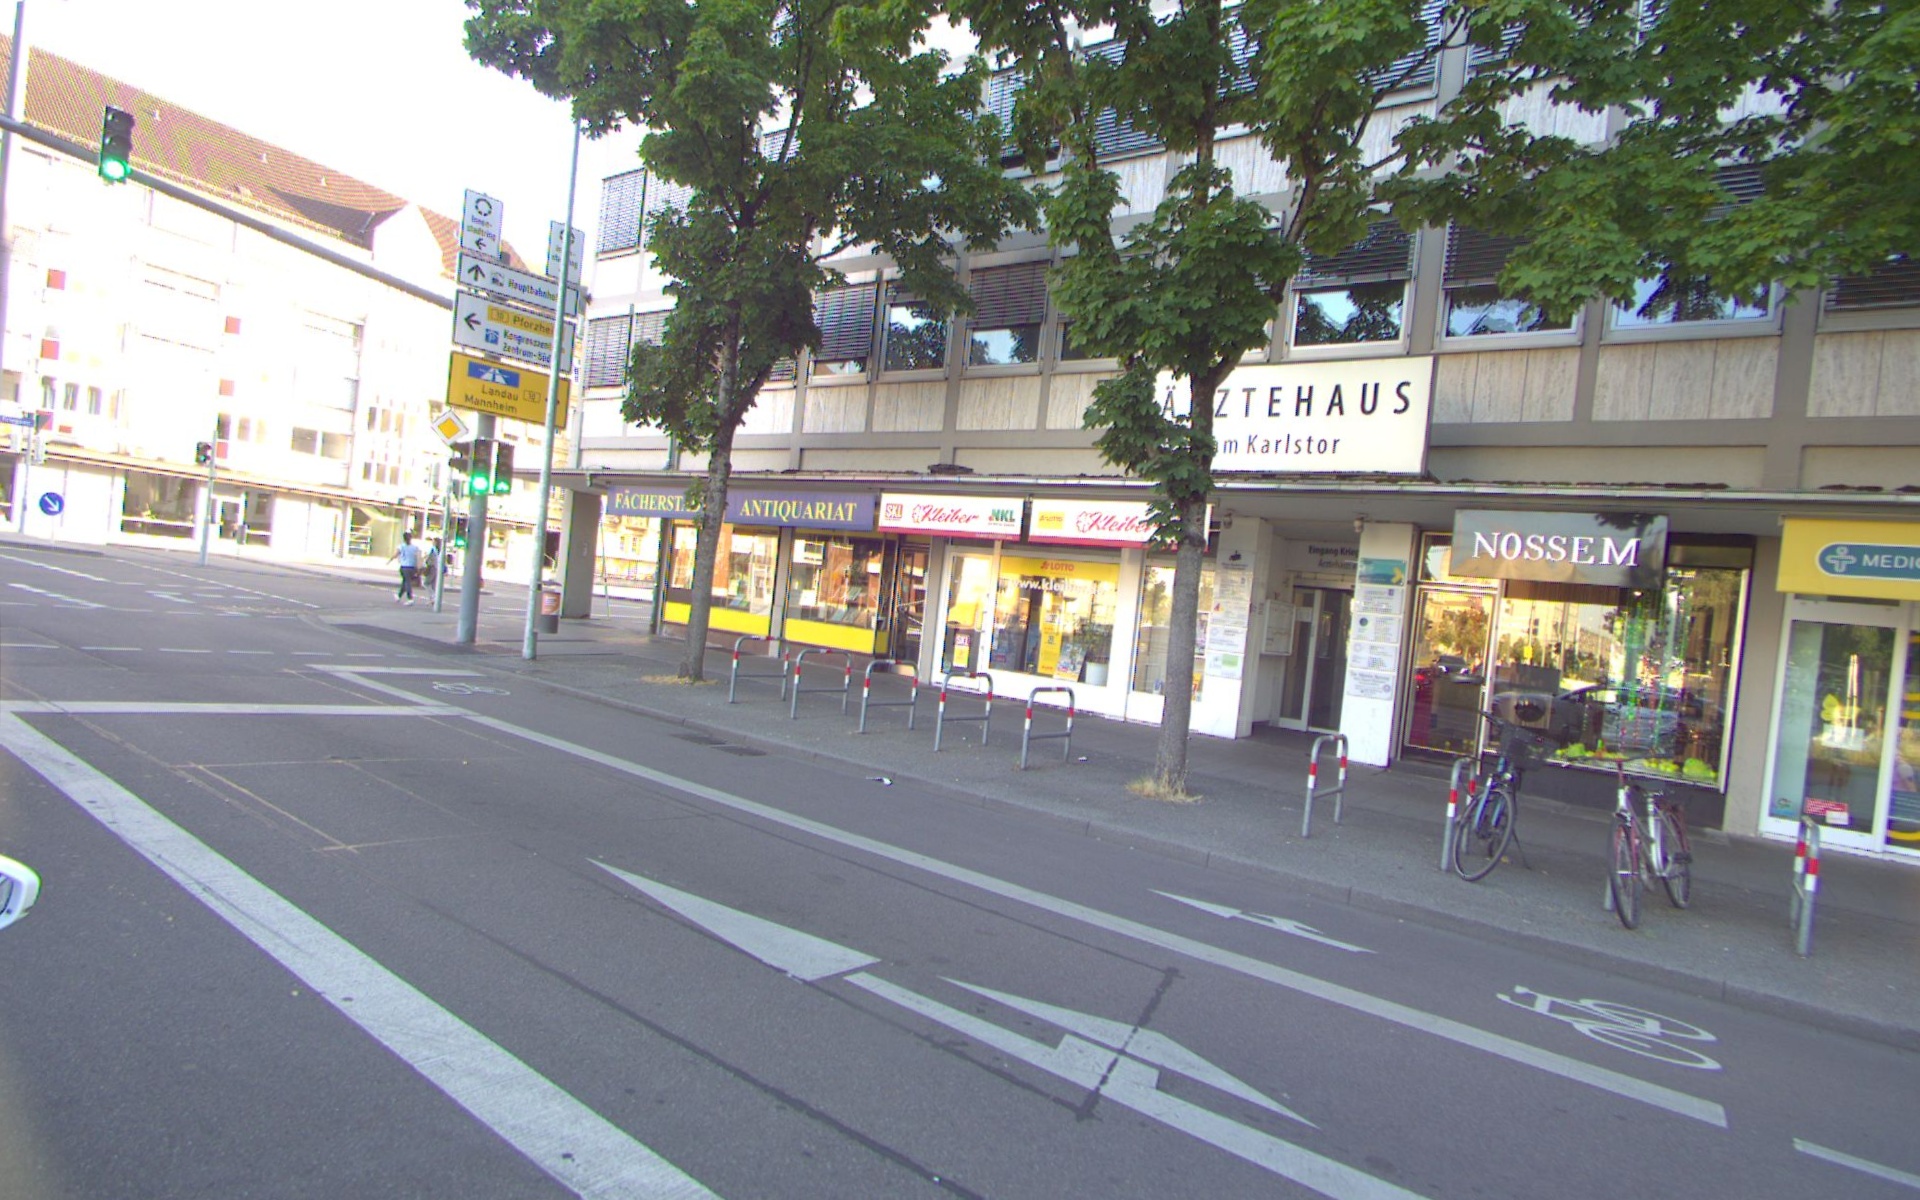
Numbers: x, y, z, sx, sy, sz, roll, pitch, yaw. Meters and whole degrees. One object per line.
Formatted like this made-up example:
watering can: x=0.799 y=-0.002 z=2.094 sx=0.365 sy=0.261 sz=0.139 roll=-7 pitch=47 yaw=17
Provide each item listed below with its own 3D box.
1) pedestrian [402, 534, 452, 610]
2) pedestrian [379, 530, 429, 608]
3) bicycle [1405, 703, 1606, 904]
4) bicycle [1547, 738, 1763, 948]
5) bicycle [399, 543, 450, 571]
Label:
pedestrian: x=-12.641 y=-0.661 z=23.868 sx=0.661 sy=1.688 sz=0.722 roll=7 pitch=1 yaw=39
pedestrian: x=-12.729 y=-0.707 z=23.024 sx=0.661 sy=1.688 sz=0.683 roll=7 pitch=1 yaw=39
bicycle: x=4.146 y=1.458 z=7.571 sx=1.898 sy=1.251 sz=0.660 roll=6 pitch=1 yaw=-44
bicycle: x=4.759 y=1.553 z=6.825 sx=1.989 sy=1.124 sz=0.660 roll=6 pitch=1 yaw=-42
bicycle: x=-30.588 y=-2.436 z=57.505 sx=0.809 sy=1.281 sz=2.408 roll=7 pitch=0 yaw=30
